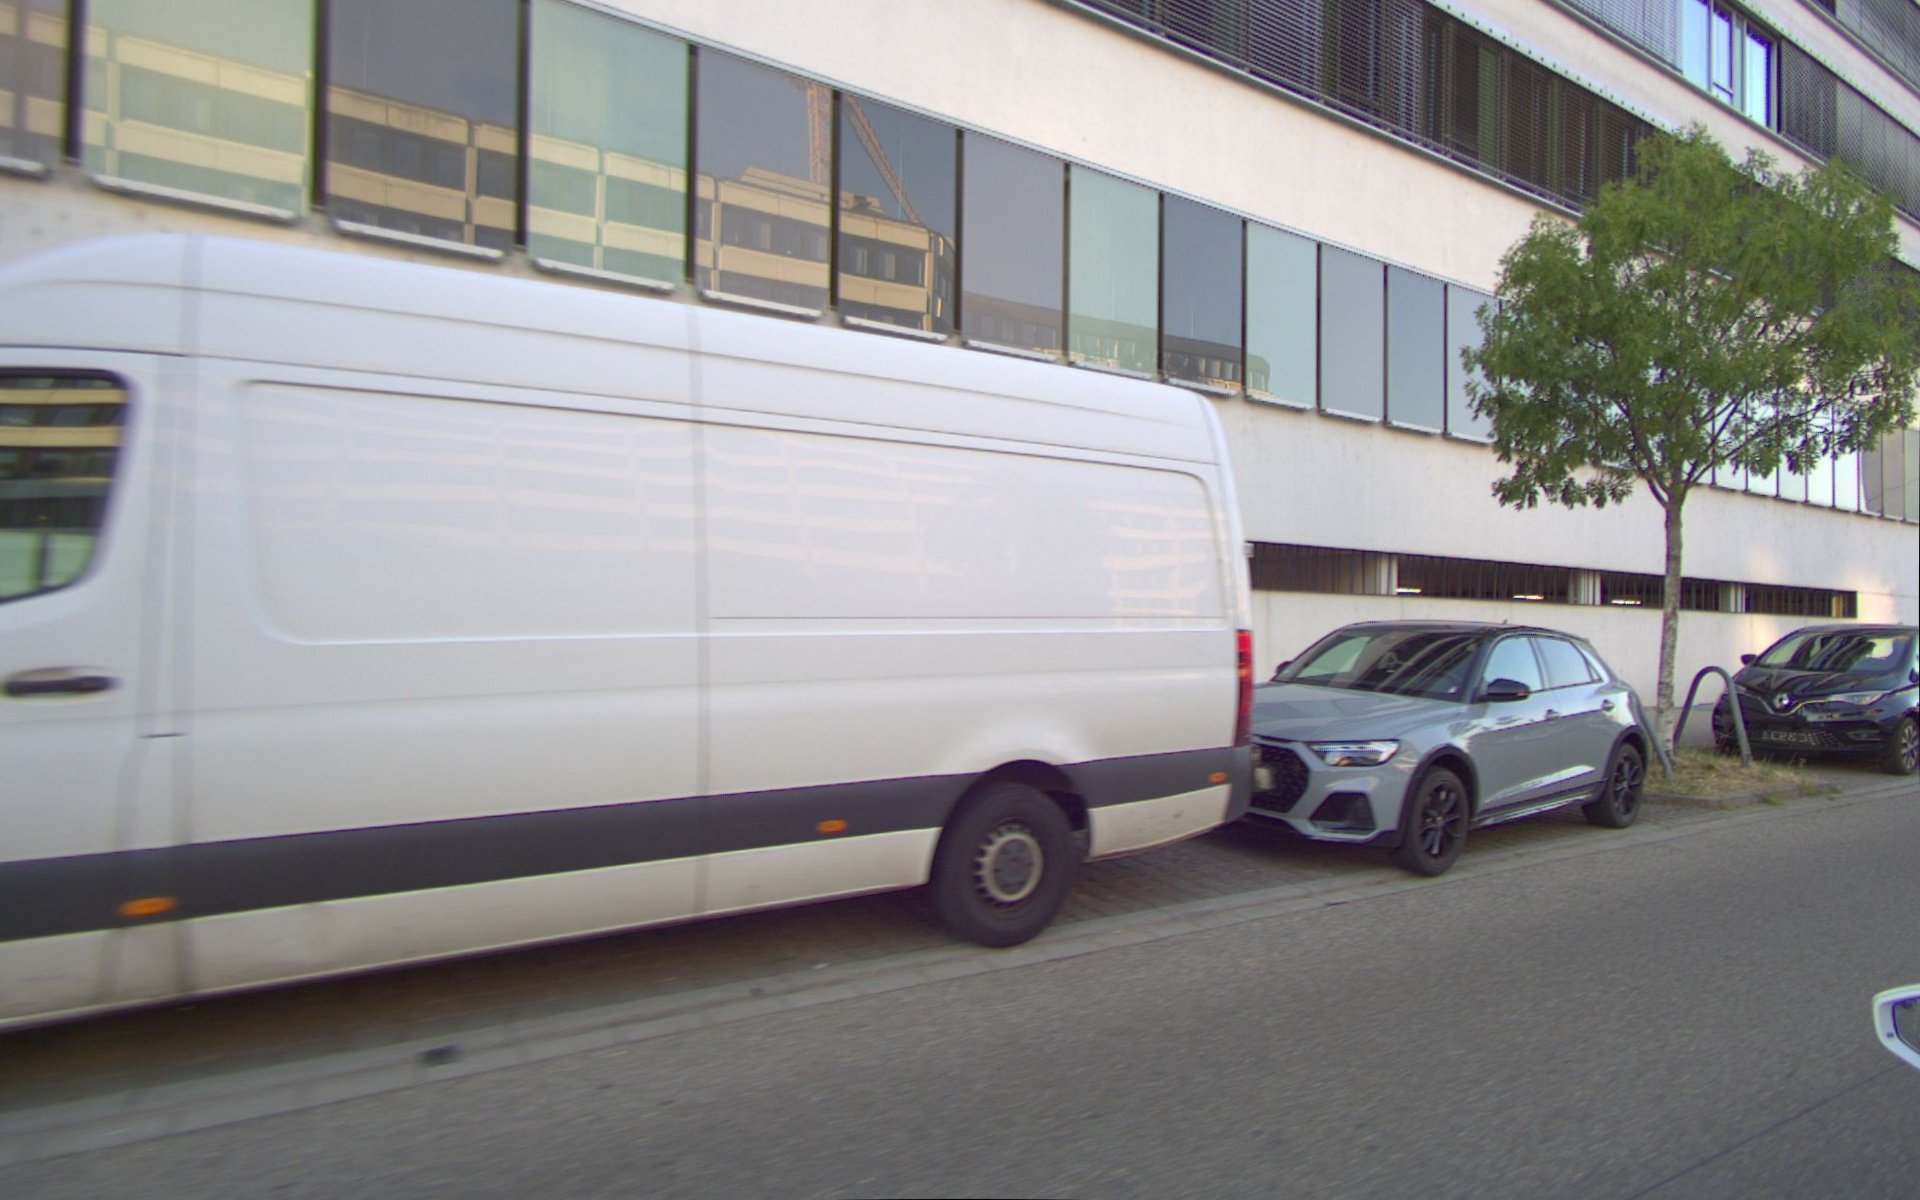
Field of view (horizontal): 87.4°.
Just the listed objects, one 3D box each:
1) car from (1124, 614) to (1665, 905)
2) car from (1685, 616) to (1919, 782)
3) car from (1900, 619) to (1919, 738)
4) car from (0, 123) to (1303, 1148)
[{"bbox_3d":[3.165,0.869,7.065,3.863,1.459,1.744,1,1,-36],"label":"car"},{"bbox_3d":[10.441,1.026,11.719,3.996,1.582,1.747,1,1,-31],"label":"car"},{"bbox_3d":[15.552,1.149,14.627,3.904,1.675,1.746,1,1,-32],"label":"car"},{"bbox_3d":[-1.700,0.110,4.197,6.812,2.652,1.948,1,1,-31],"label":"car"}]
